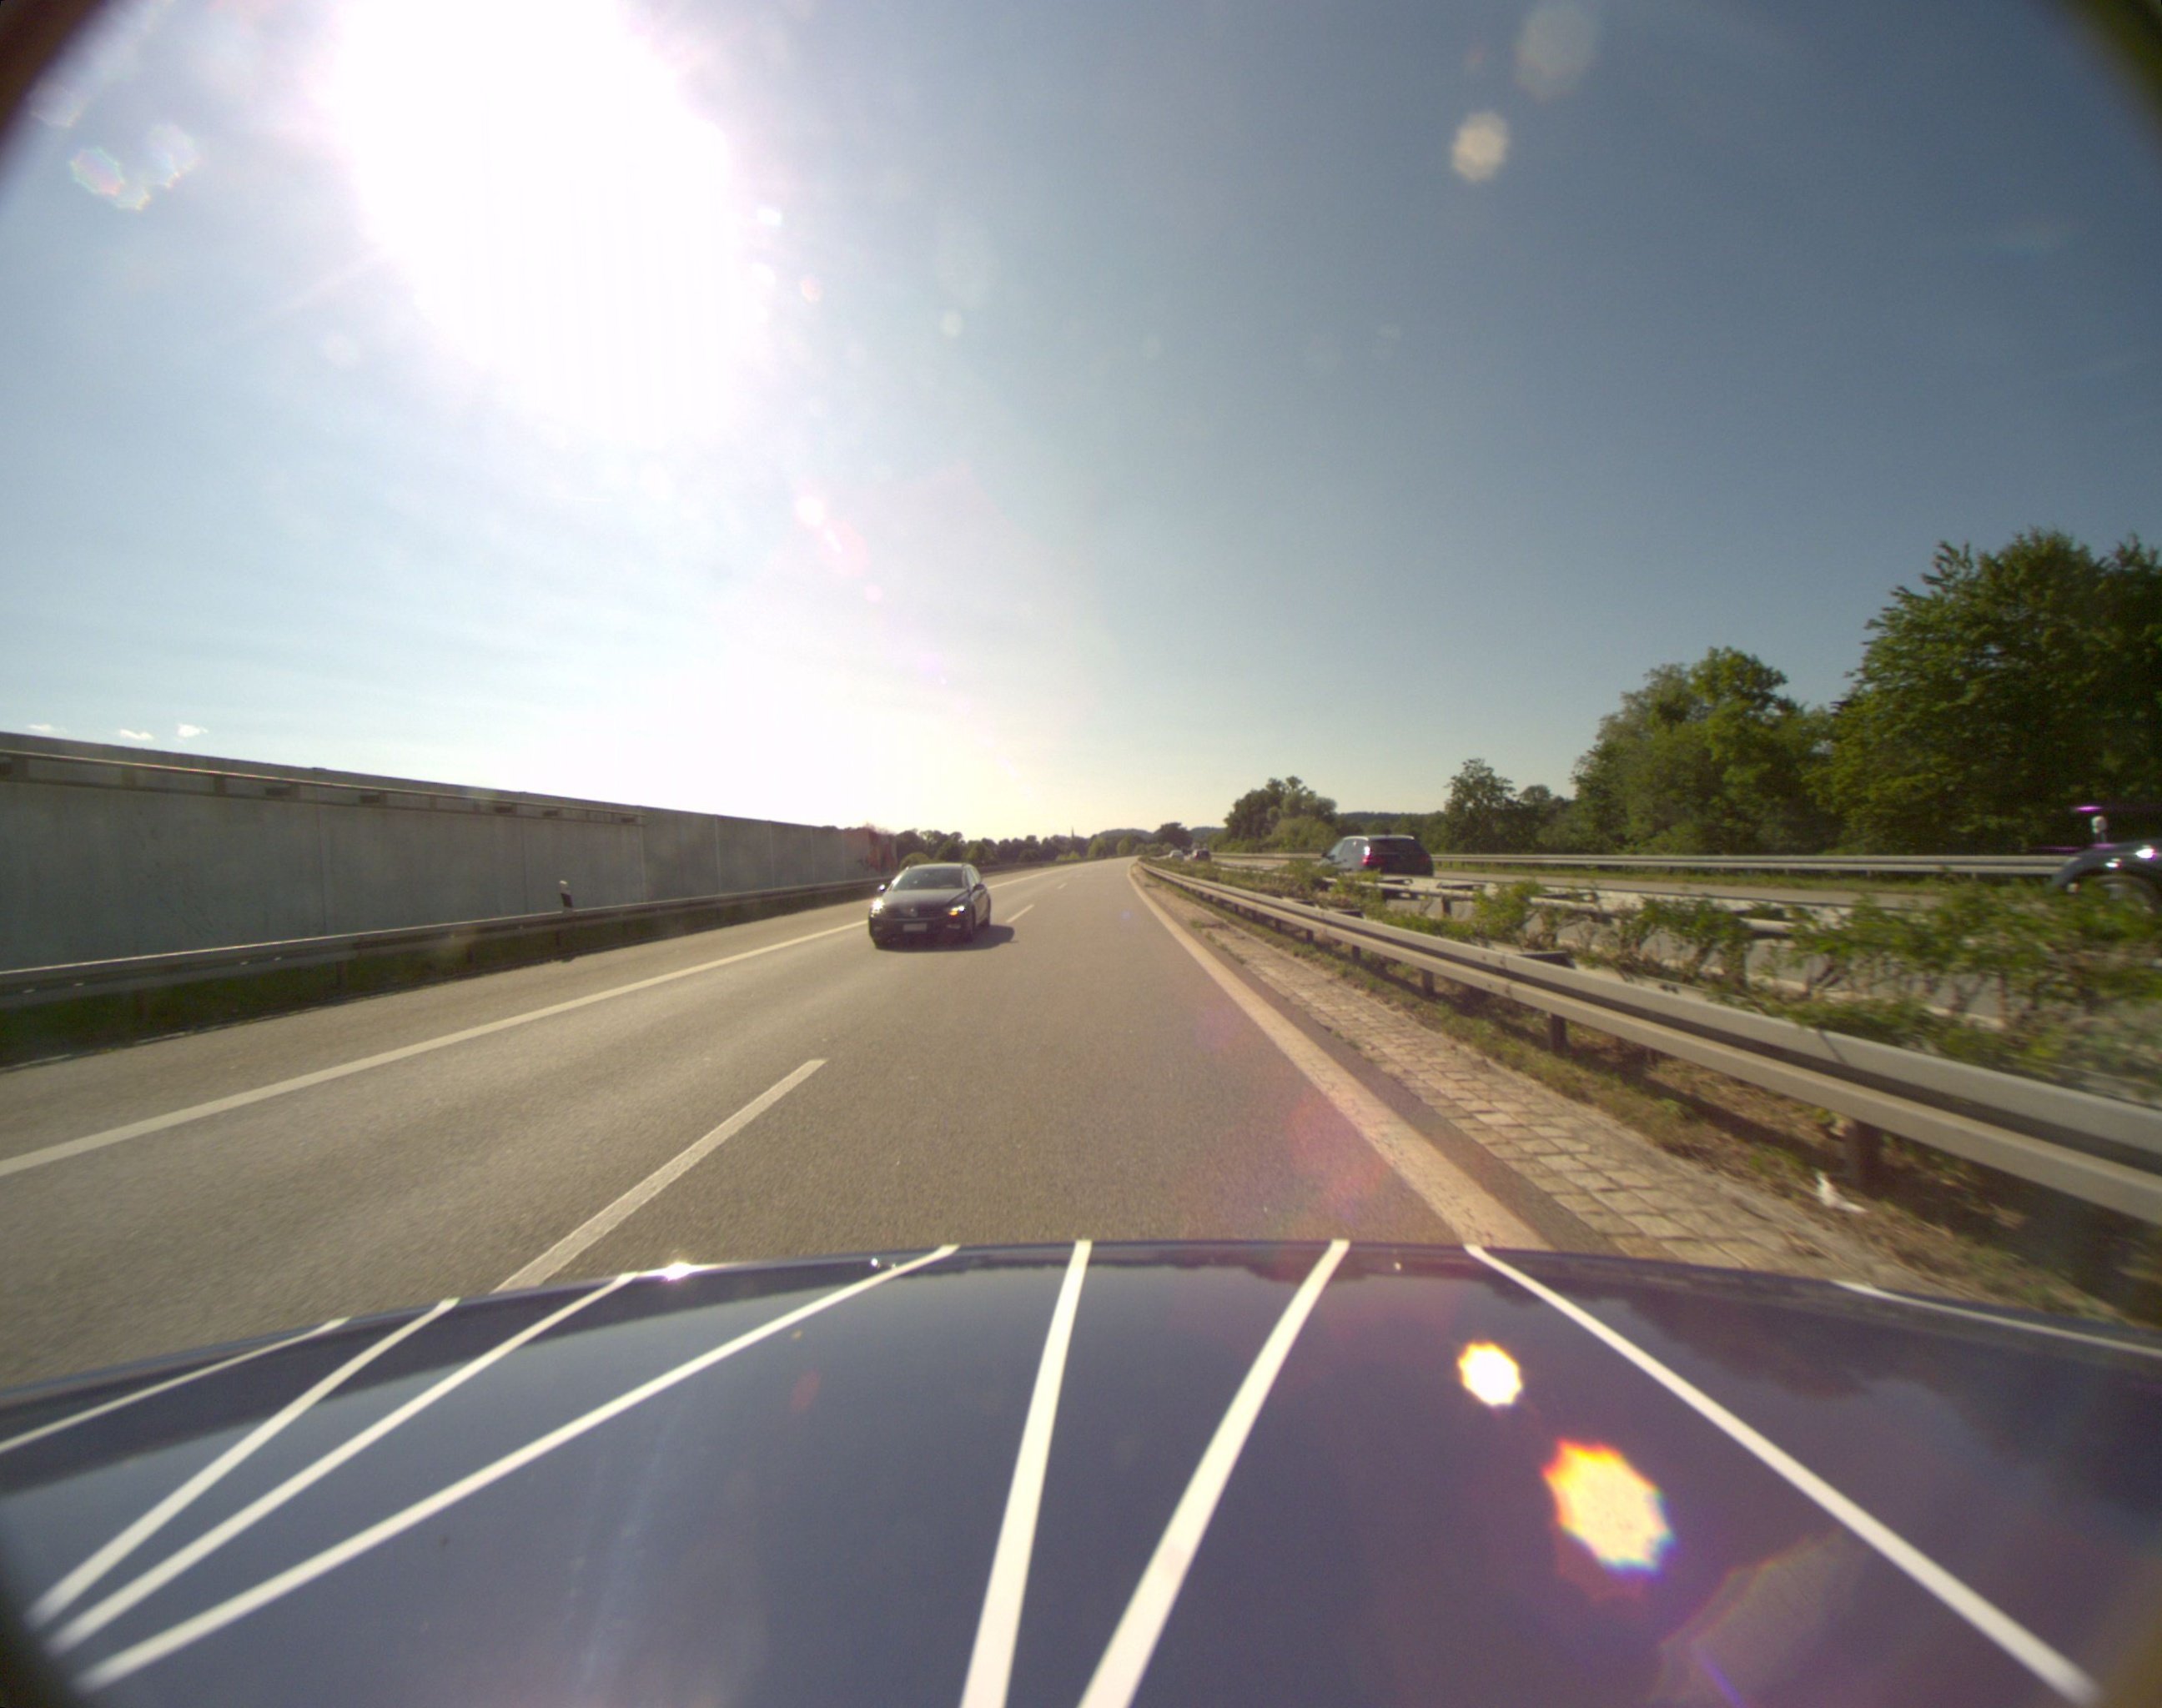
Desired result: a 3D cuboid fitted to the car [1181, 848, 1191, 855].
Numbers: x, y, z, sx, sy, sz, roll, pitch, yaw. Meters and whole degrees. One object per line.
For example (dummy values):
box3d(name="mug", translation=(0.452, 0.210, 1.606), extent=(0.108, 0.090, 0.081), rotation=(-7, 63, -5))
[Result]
box3d(name="car", translation=(24.496, -0.531, 177.336), extent=(1.997, 1.669, 5.319), rotation=(-1, 0, 6))

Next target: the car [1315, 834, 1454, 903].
box3d(name="car", translation=(7.287, 0.324, 18.703), extent=(1.858, 1.473, 4.000), rotation=(-1, 0, 1))

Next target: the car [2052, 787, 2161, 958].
box3d(name="car", translation=(11.116, 0.156, 5.738), extent=(1.858, 1.624, 4.493), rotation=(-1, 0, 1))

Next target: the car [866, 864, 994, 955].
box3d(name="car", translation=(-2.864, 0.986, 15.369), extent=(1.723, 1.392, 4.412), rotation=(-2, 1, -1))

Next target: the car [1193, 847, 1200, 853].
box3d(name="car", translation=(36.403, -1.265, 239.207), extent=(1.997, 1.545, 4.422), rotation=(-1, 0, 8))

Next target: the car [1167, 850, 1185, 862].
box3d(name="car", translation=(12.384, 0.268, 99.593), extent=(1.825, 1.426, 4.650), rotation=(-3, 0, 1))

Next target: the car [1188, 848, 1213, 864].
box3d(name="car", translation=(11.649, 0.196, 74.292), extent=(1.777, 1.461, 4.507), rotation=(-3, 0, 1))
